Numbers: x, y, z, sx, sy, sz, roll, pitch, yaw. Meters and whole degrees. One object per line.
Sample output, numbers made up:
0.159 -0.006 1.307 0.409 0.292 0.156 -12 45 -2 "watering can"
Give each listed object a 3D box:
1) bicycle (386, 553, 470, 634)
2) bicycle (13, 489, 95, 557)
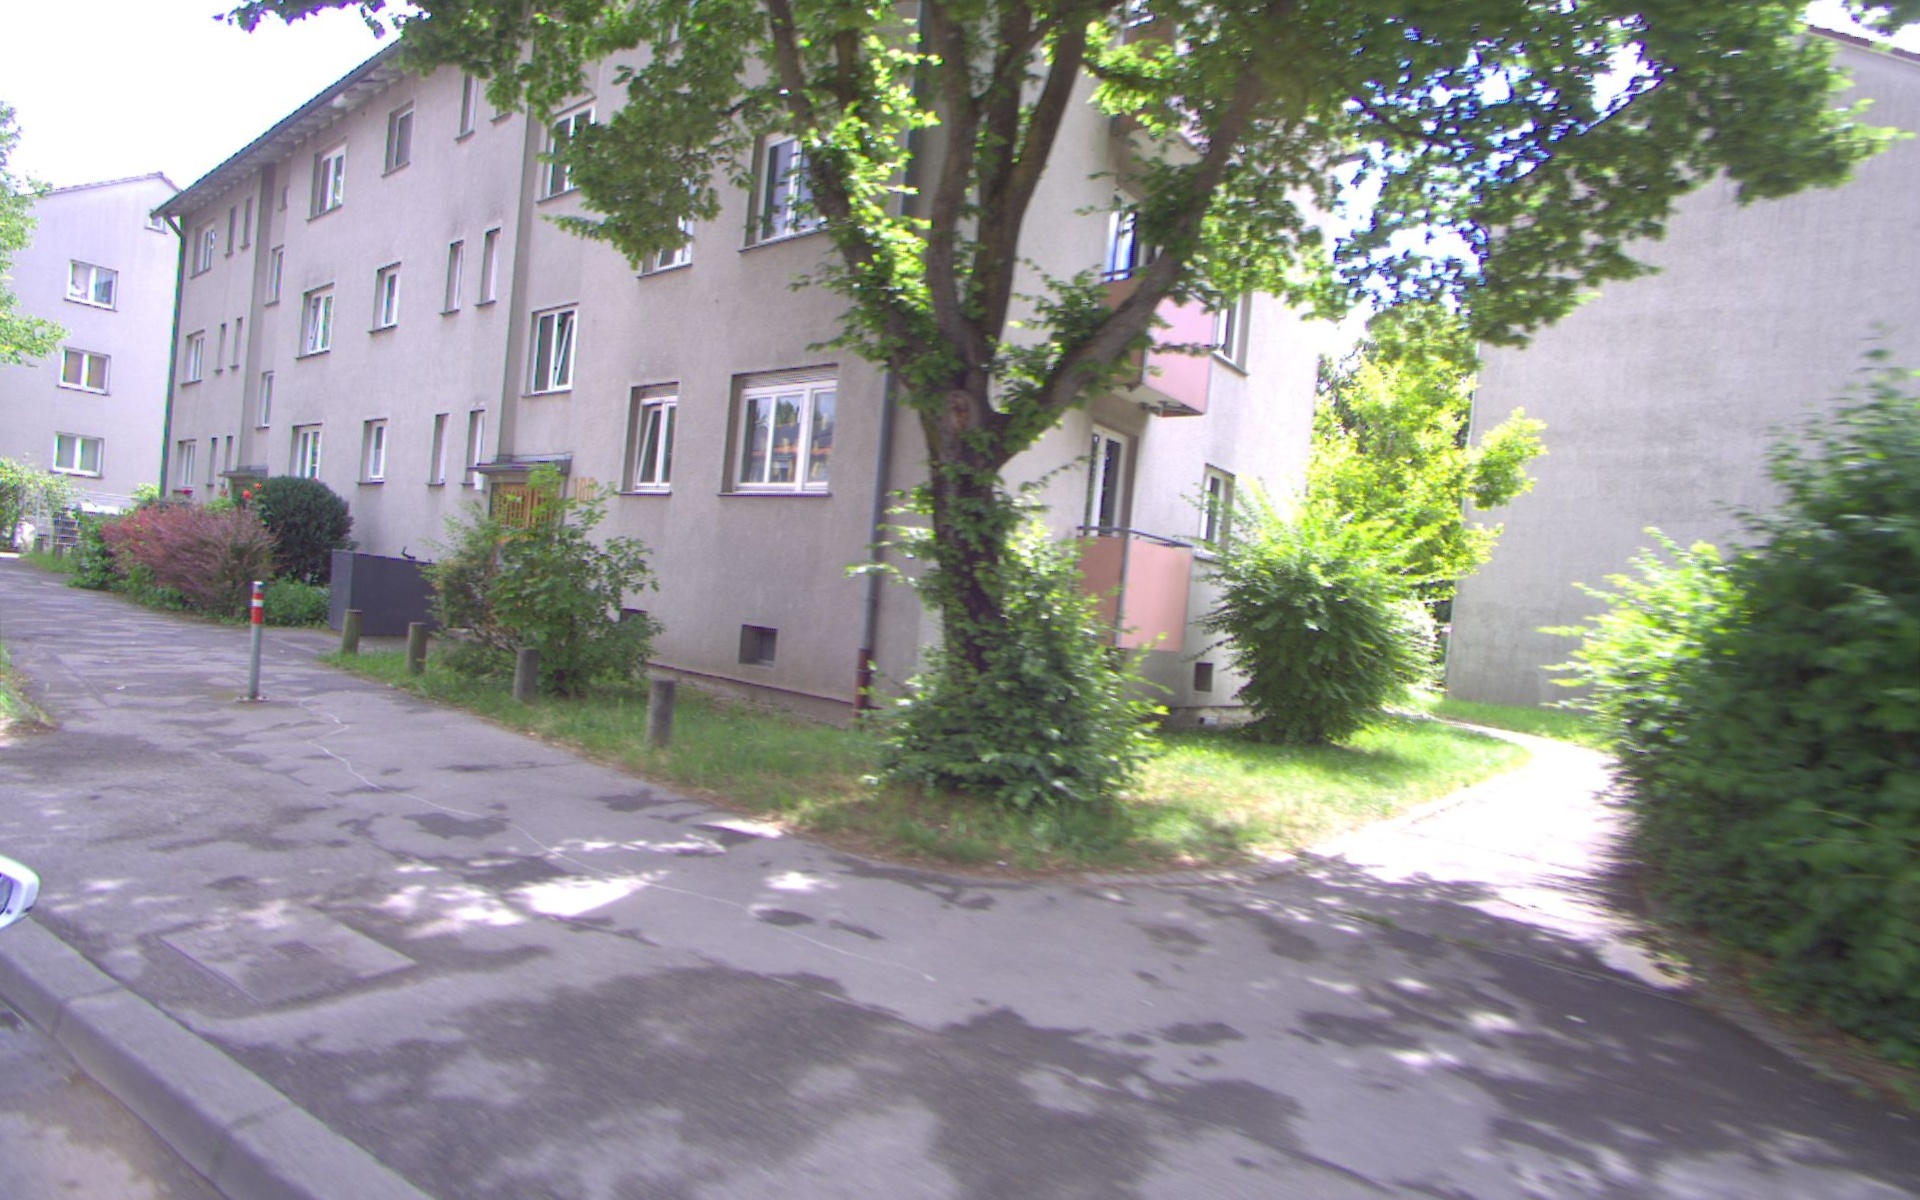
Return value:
-7.766 -0.106 14.656 1.549 1.046 0.478 6 2 40 "bicycle"
-24.096 -2.039 26.758 1.055 1.594 1.347 6 1 36 "bicycle"
